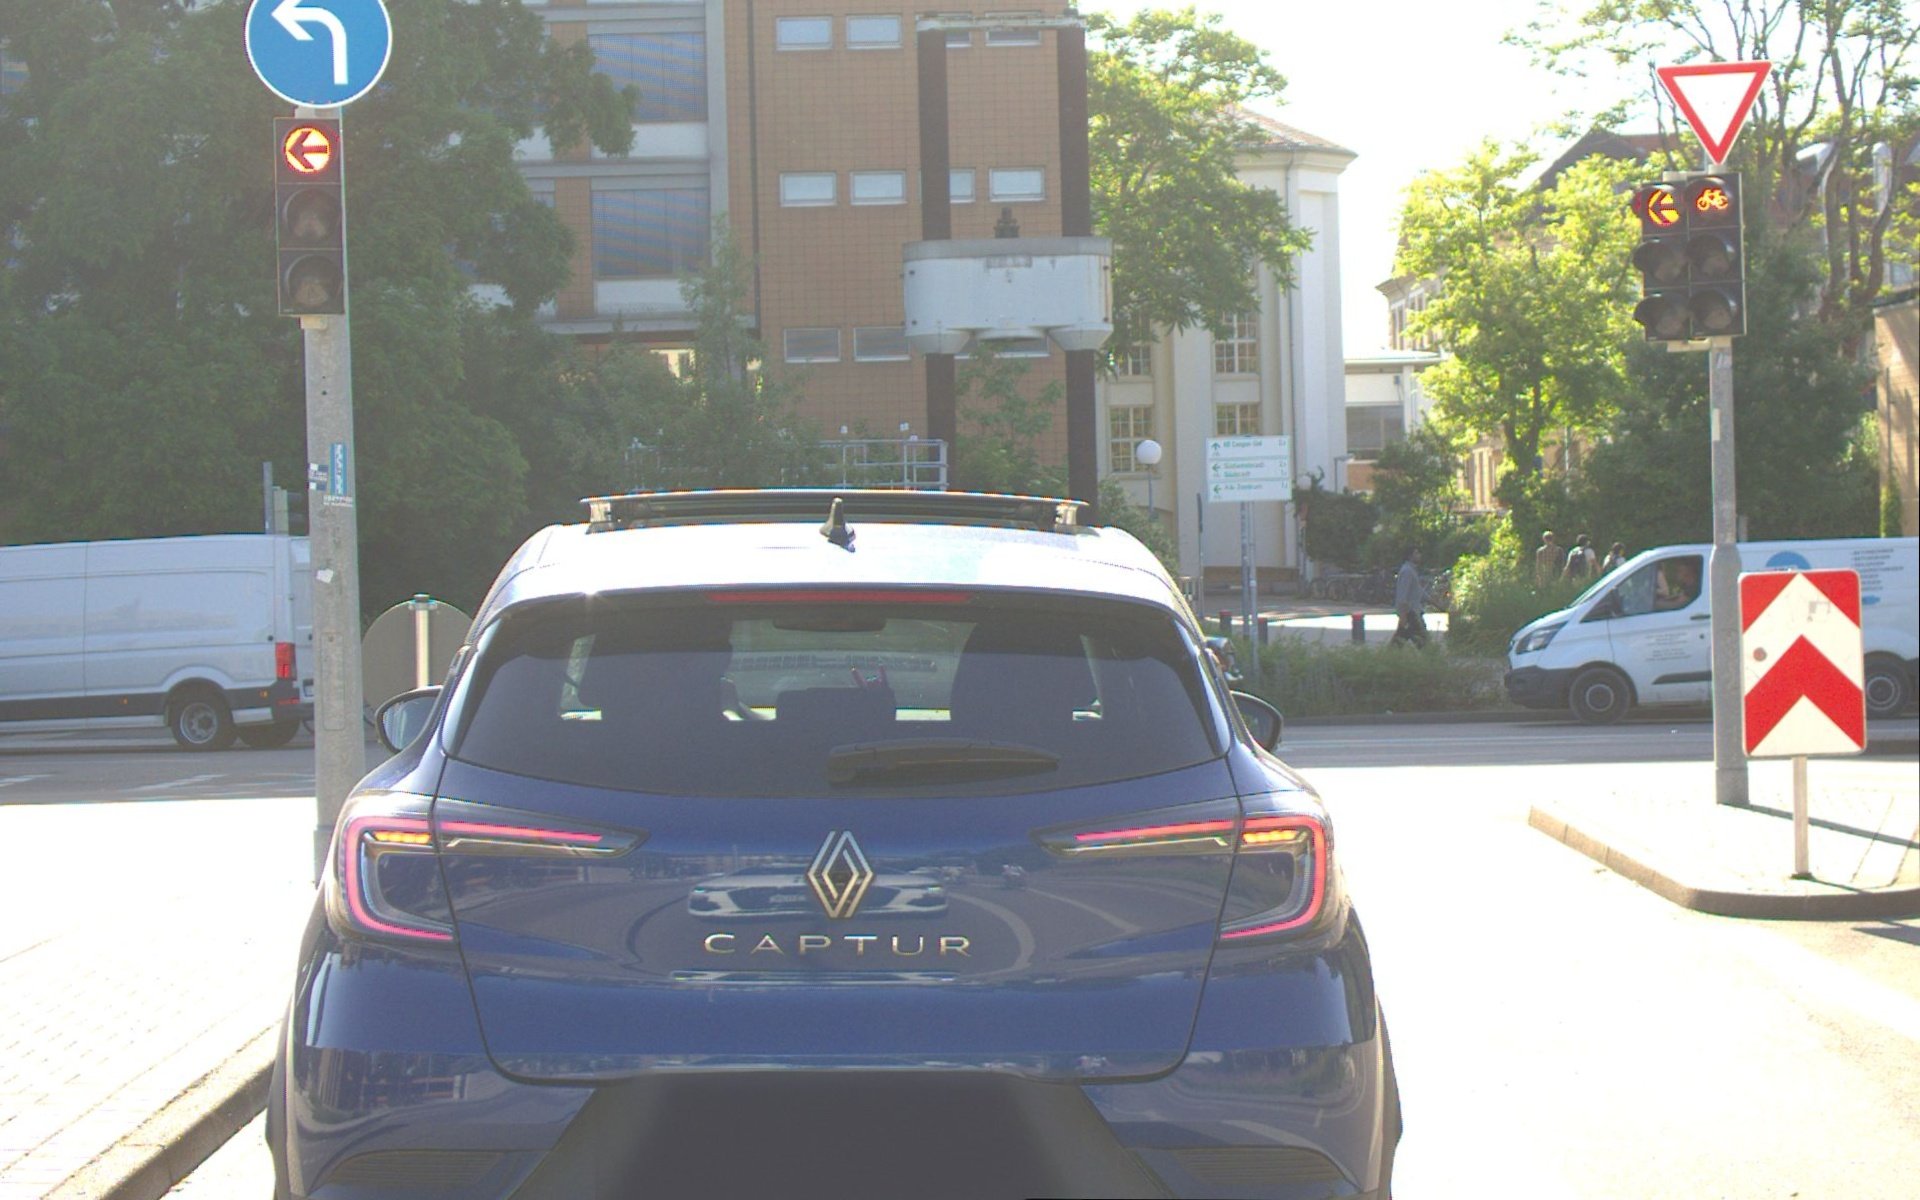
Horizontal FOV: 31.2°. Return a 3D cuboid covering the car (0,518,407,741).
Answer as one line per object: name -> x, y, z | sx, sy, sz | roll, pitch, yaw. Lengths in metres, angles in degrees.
car -> -10.610, 0.360, 41.975 | 6.939, 2.538, 3.011 | -1, 1, 14

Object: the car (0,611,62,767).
car -> -12.695, 0.949, 37.831 | 5.032, 1.667, 1.999 | 1, -2, 11

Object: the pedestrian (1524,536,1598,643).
pedestrian -> 11.454, -0.211, 65.530 | 1.156, 2.007, 1.164 | -1, 1, 0

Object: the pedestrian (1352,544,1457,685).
pedestrian -> 5.984, 0.185, 46.239 | 1.298, 1.849, 0.965 | -1, 1, 11

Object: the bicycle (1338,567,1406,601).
bicycle -> 11.399, -0.454, 95.208 | 1.771, 0.895, 0.765 | -1, 1, 0

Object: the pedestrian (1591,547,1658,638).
pedestrian -> 12.029, -0.145, 62.256 | 0.936, 1.607, 1.176 | -1, 1, 0

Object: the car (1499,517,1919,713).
car -> 8.433, 0.146, 37.441 | 5.001, 2.007, 2.071 | -1, 1, 10

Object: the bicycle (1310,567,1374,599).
bicycle -> 11.061, -0.488, 99.572 | 1.771, 0.890, 0.765 | -1, 1, 0

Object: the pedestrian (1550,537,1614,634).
pedestrian -> 11.351, -0.274, 62.751 | 0.953, 1.735, 0.984 | -1, 1, 0

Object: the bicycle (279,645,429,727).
bicycle -> -7.830, 1.106, 44.464 | 0.700, 1.004, 1.864 | -4, -2, 40

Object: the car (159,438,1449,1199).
car -> -0.269, 0.568, 6.734 | 1.794, 1.649, 3.853 | 0, 1, -2

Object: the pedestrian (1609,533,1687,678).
pedestrian -> 8.981, 0.066, 44.924 | 0.932, 1.849, 0.807 | -1, 1, 9

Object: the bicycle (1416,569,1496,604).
bicycle -> 12.030, -0.330, 83.406 | 1.770, 0.820, 0.766 | -1, 1, -10

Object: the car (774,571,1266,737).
car -> 0.674, 0.547, 35.777 | 4.844, 1.576, 2.101 | -1, 1, 9
